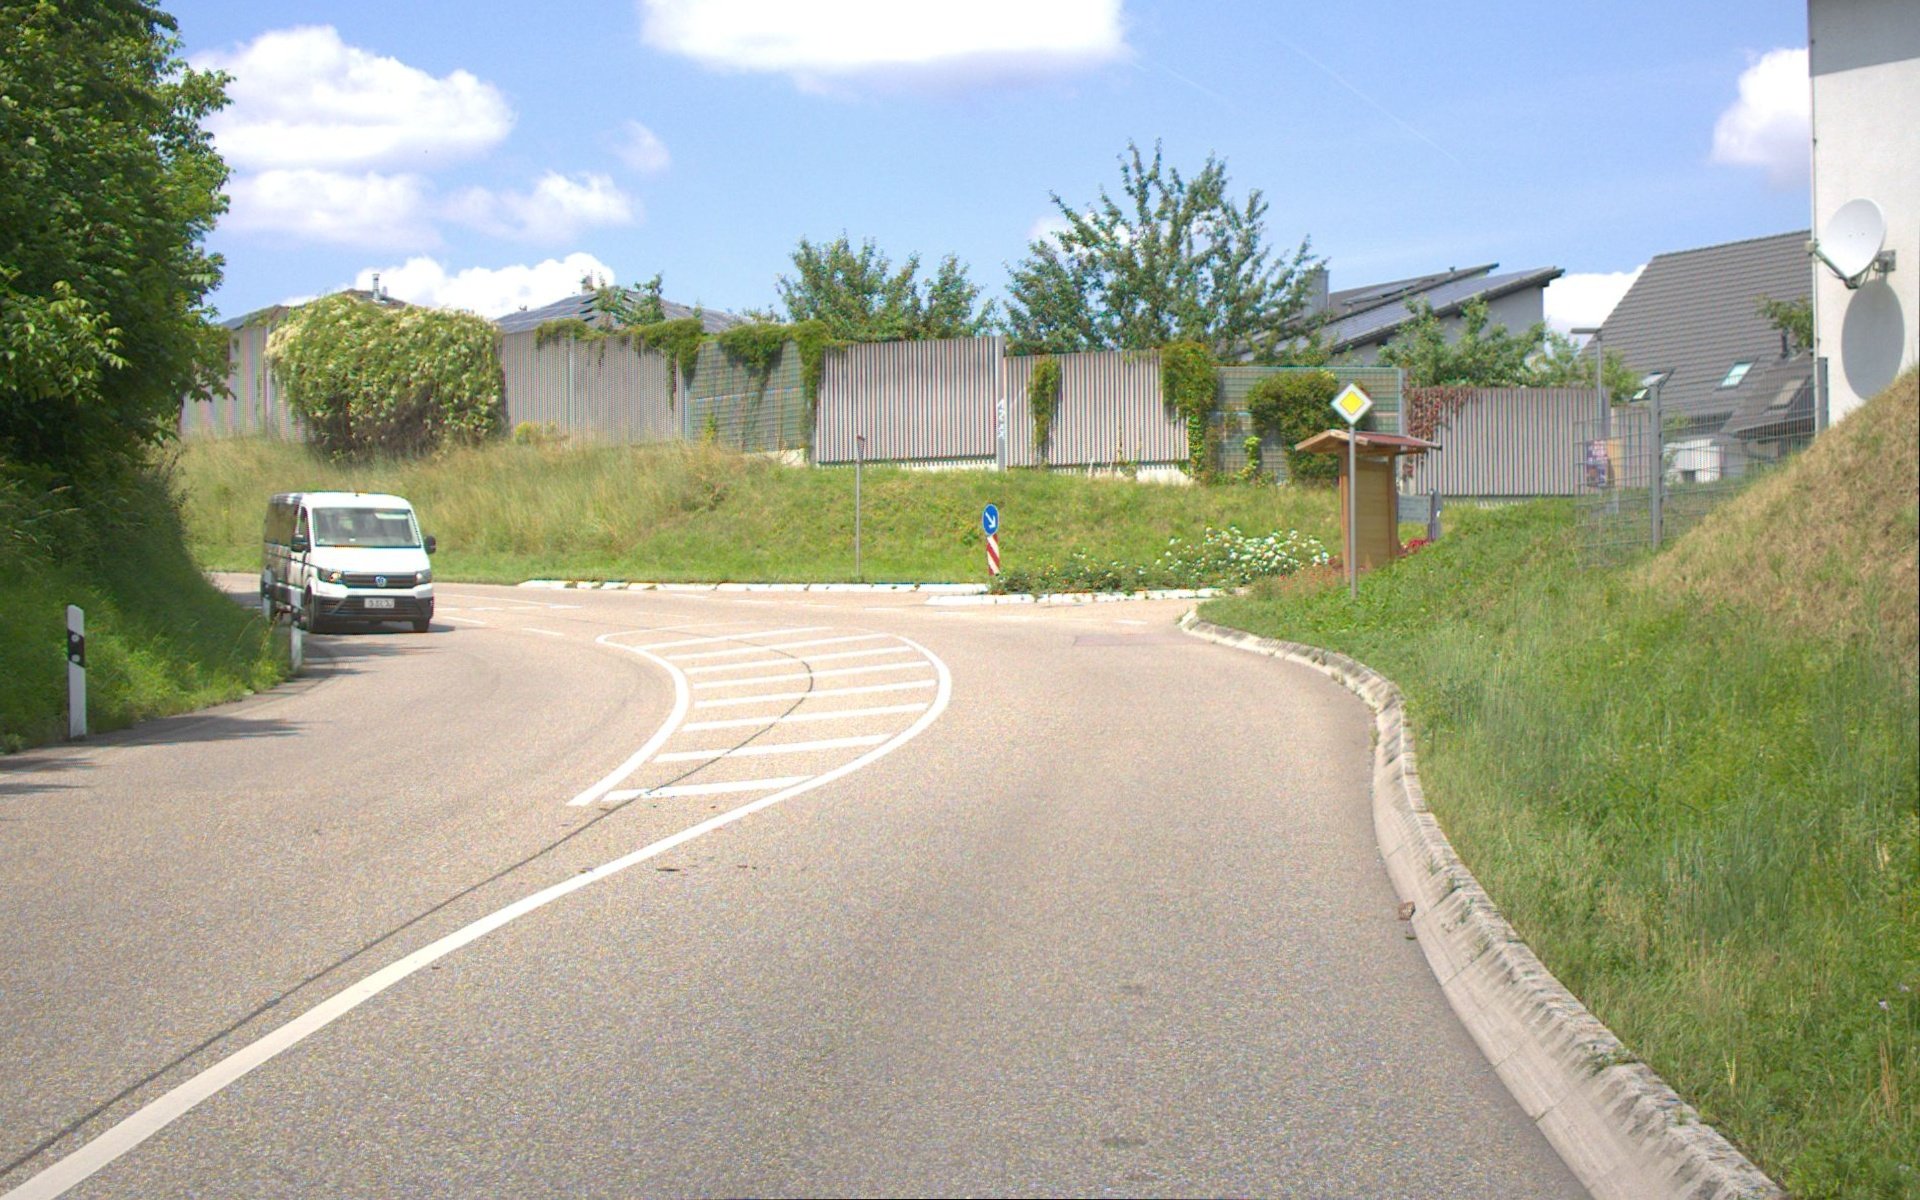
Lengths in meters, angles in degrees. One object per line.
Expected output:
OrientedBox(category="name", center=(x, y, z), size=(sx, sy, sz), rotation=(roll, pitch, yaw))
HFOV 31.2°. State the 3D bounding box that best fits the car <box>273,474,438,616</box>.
OrientedBox(category="car", center=(-10.368, -0.927, 58.608), size=(2.085, 2.282, 5.948), rotation=(0, 1, -17))
